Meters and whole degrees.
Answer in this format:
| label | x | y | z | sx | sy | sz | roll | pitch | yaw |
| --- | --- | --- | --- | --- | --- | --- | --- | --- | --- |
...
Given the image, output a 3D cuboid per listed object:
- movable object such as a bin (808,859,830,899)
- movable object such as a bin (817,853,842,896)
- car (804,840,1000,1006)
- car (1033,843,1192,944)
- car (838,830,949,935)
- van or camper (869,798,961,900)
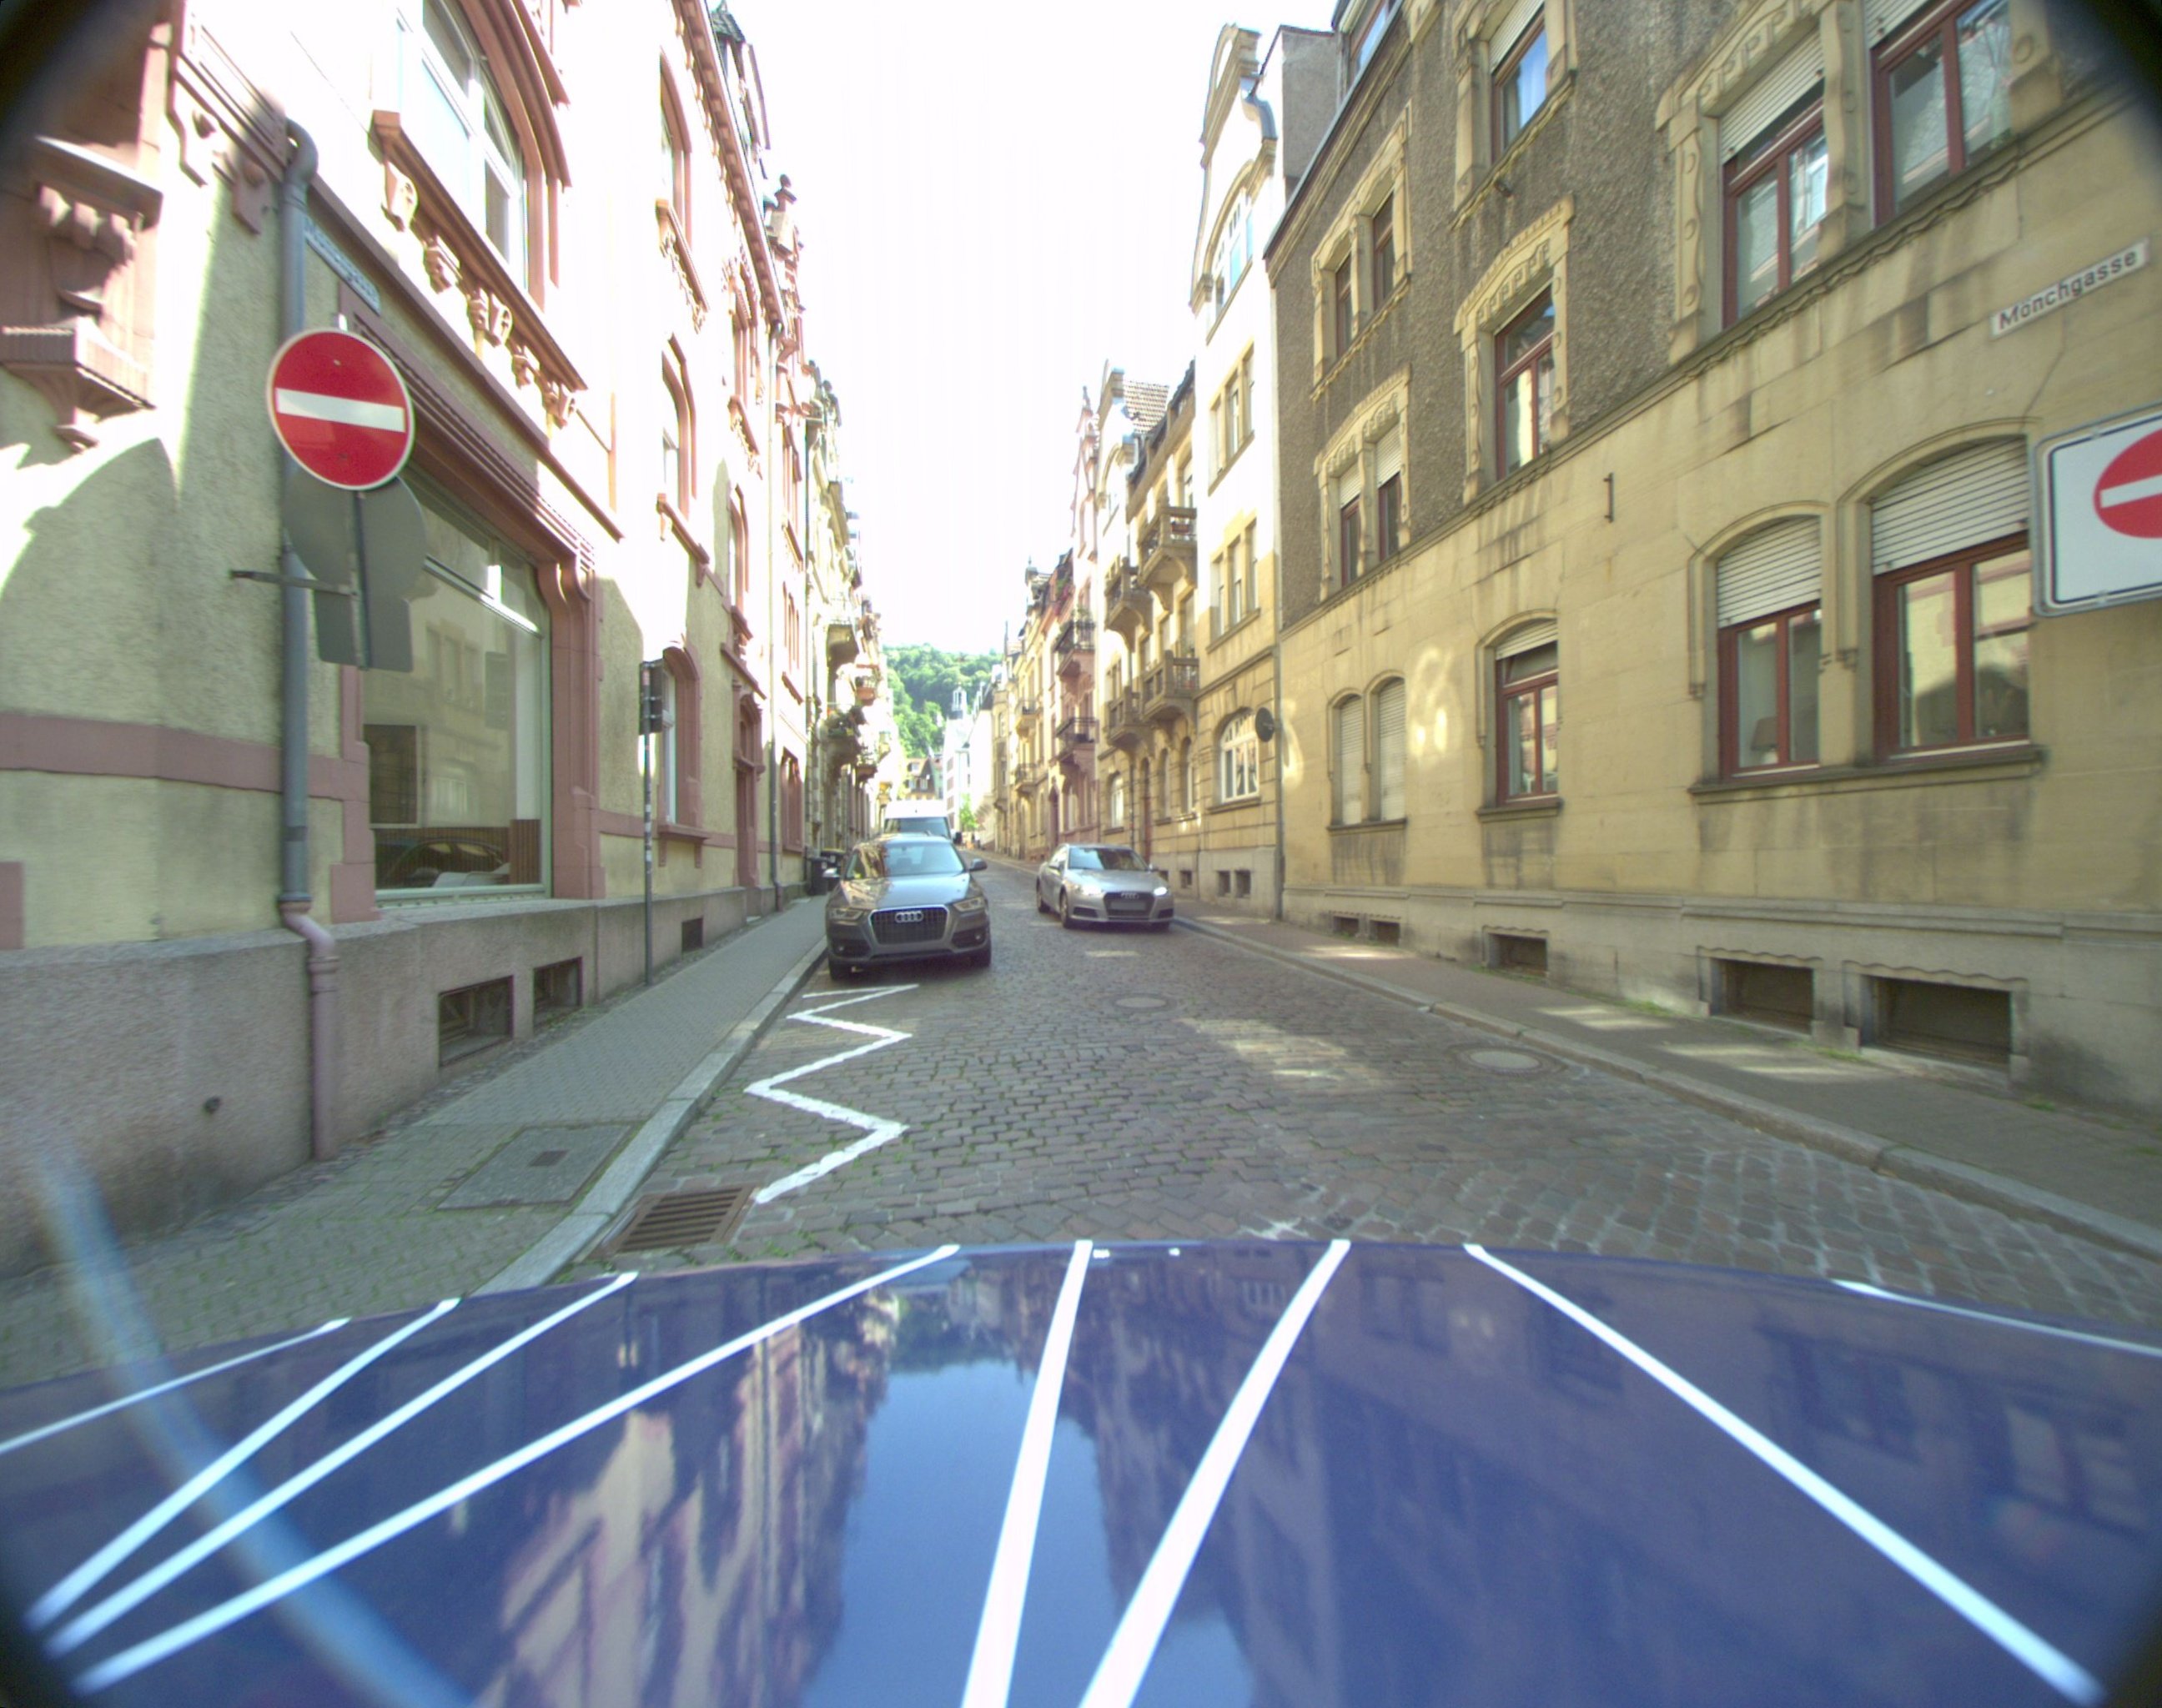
| label | x | y | z | sx | sy | sz | roll | pitch | yaw |
| --- | --- | --- | --- | --- | --- | --- | --- | --- | --- |
| movable object such as a bin | -6.301 | 0.591 | 18.257 | 0.440 | 0.952 | 0.349 | -1 | 0 | -11 |
| movable object such as a bin | -6.437 | 0.520 | 19.457 | 0.517 | 1.083 | 0.421 | -1 | 0 | -11 |
| car | -2.260 | 0.641 | 9.784 | 1.863 | 1.574 | 4.254 | -2 | 2 | -13 |
| car | 0.363 | 0.557 | 13.660 | 1.878 | 1.484 | 4.378 | -1 | 1 | -11 |
| car | -3.593 | 0.432 | 14.988 | 1.762 | 1.696 | 3.995 | -3 | 2 | -11 |
| van or camper | -4.855 | -0.231 | 22.271 | 2.227 | 2.506 | 6.758 | 0 | 2 | -12 |
